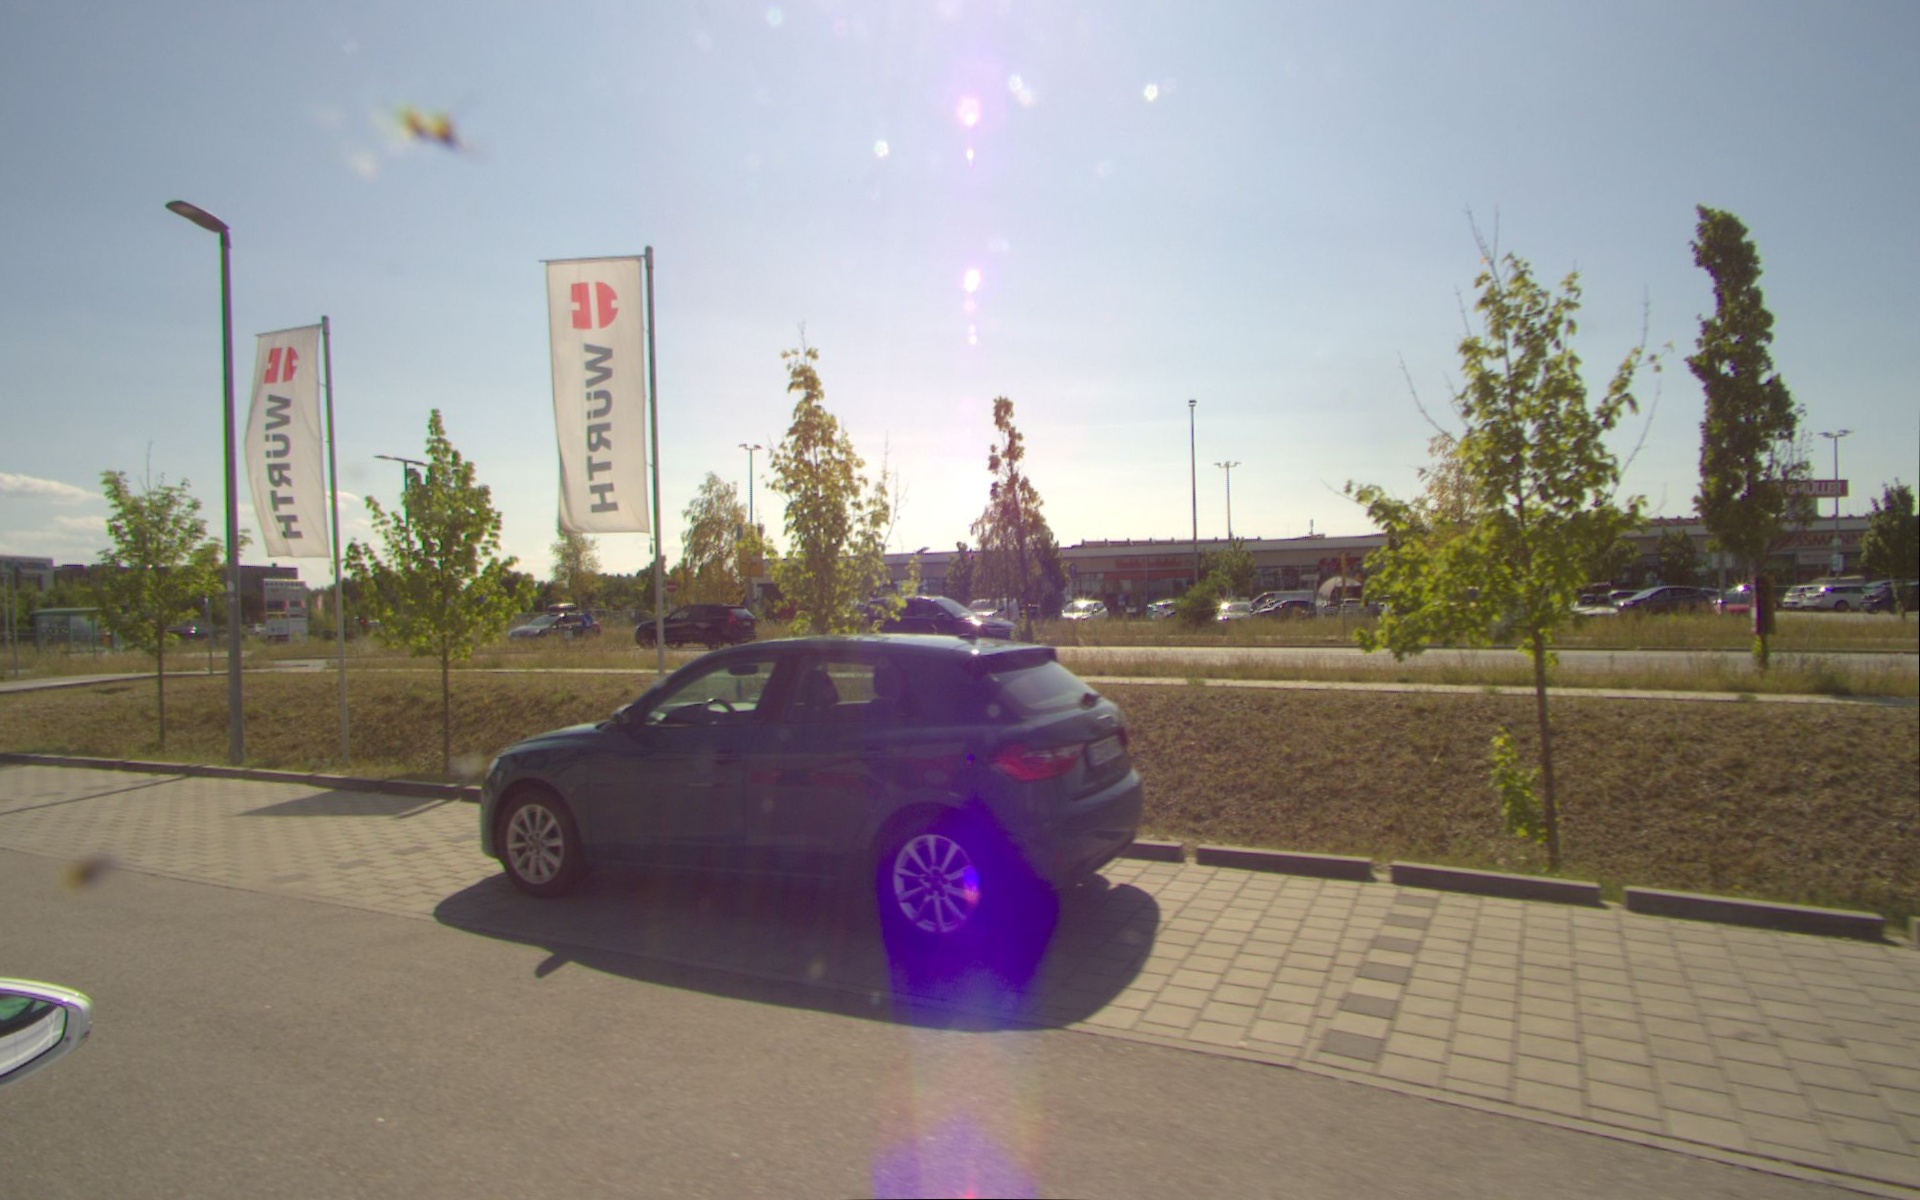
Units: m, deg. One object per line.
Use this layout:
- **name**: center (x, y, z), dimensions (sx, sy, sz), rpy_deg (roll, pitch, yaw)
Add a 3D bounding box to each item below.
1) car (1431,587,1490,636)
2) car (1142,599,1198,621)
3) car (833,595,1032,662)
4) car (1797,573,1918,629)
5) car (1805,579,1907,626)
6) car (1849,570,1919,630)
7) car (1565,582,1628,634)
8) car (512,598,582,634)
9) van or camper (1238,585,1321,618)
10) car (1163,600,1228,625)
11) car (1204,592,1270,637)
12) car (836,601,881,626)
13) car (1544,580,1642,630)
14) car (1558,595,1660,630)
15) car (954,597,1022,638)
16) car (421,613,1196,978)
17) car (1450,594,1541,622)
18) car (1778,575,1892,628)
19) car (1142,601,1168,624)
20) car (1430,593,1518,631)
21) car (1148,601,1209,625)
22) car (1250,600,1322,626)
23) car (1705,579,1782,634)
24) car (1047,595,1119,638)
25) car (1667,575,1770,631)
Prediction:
- **car**: center (22.094, 0.494, 44.123), dimensions (2.132, 2.040, 5.093), rpy_deg (-1, 0, 29)
- **car**: center (14.415, 0.662, 68.929), dimensions (3.661, 1.409, 1.731), rpy_deg (-1, 0, 9)
- **car**: center (-0.707, 0.734, 25.514), dimensions (4.681, 1.571, 1.941), rpy_deg (-1, -1, 23)
- **car**: center (48.092, 0.089, 53.747), dimensions (4.400, 2.858, 1.999), rpy_deg (-1, 0, 13)
- **car**: center (56.707, 0.174, 63.453), dimensions (4.400, 2.858, 1.999), rpy_deg (-1, 0, 13)
- **car**: center (46.501, 0.013, 48.795), dimensions (4.398, 2.858, 2.000), rpy_deg (-1, 0, 7)
- **car**: center (26.523, 0.331, 41.819), dimensions (1.914, 2.040, 4.391), rpy_deg (-1, 0, 29)
- **car**: center (-18.230, 0.718, 44.404), dimensions (1.962, 1.536, 4.194), rpy_deg (-1, -1, -10)
- **van or camper**: center (20.659, 0.123, 64.957), dimensions (4.959, 2.040, 1.998), rpy_deg (-1, 0, 15)
- **car**: center (14.130, 0.774, 60.207), dimensions (3.661, 1.409, 1.731), rpy_deg (-1, 0, 9)
- **car**: center (13.418, 0.675, 48.293), dimensions (2.130, 2.040, 5.097), rpy_deg (-1, 0, 26)
- **car**: center (-8.556, 1.133, 85.146), dimensions (2.187, 2.003, 6.694), rpy_deg (-2, -1, 8)
- **car**: center (37.330, 0.318, 59.157), dimensions (4.398, 2.858, 2.000), rpy_deg (-1, 0, 7)
- **car**: center (36.523, 0.712, 56.451), dimensions (4.401, 1.887, 1.999), rpy_deg (-1, -1, 13)
- **car**: center (1.573, 0.905, 53.294), dimensions (2.051, 2.040, 5.217), rpy_deg (-1, 0, 20)
- **car**: center (-0.910, 0.840, 5.838), dimensions (4.159, 1.469, 1.839), rpy_deg (-1, 0, 26)
- **car**: center (30.701, 0.461, 57.520), dimensions (4.270, 1.540, 1.654), rpy_deg (-1, -1, 15)
- **car**: center (49.266, 0.128, 56.489), dimensions (4.400, 2.858, 1.999), rpy_deg (-1, 0, 13)
- **car**: center (15.450, 0.956, 79.320), dimensions (1.962, 1.729, 3.997), rpy_deg (-1, 0, 11)
- **car**: center (31.963, 0.761, 62.362), dimensions (4.398, 2.220, 2.000), rpy_deg (-1, -1, 7)
- **car**: center (13.719, 0.793, 63.005), dimensions (3.661, 1.409, 1.731), rpy_deg (-1, 0, 9)
- **car**: center (19.365, 0.781, 59.698), dimensions (3.926, 1.527, 1.873), rpy_deg (-1, -1, 14)
- **car**: center (30.663, 0.241, 39.322), dimensions (1.855, 2.040, 4.118), rpy_deg (-1, 0, 31)
- **car**: center (6.372, 0.817, 51.431), dimensions (2.130, 2.040, 5.097), rpy_deg (-1, 0, 26)
- **car**: center (40.320, 0.170, 53.253), dimensions (4.401, 2.858, 1.998), rpy_deg (0, 0, -12)
